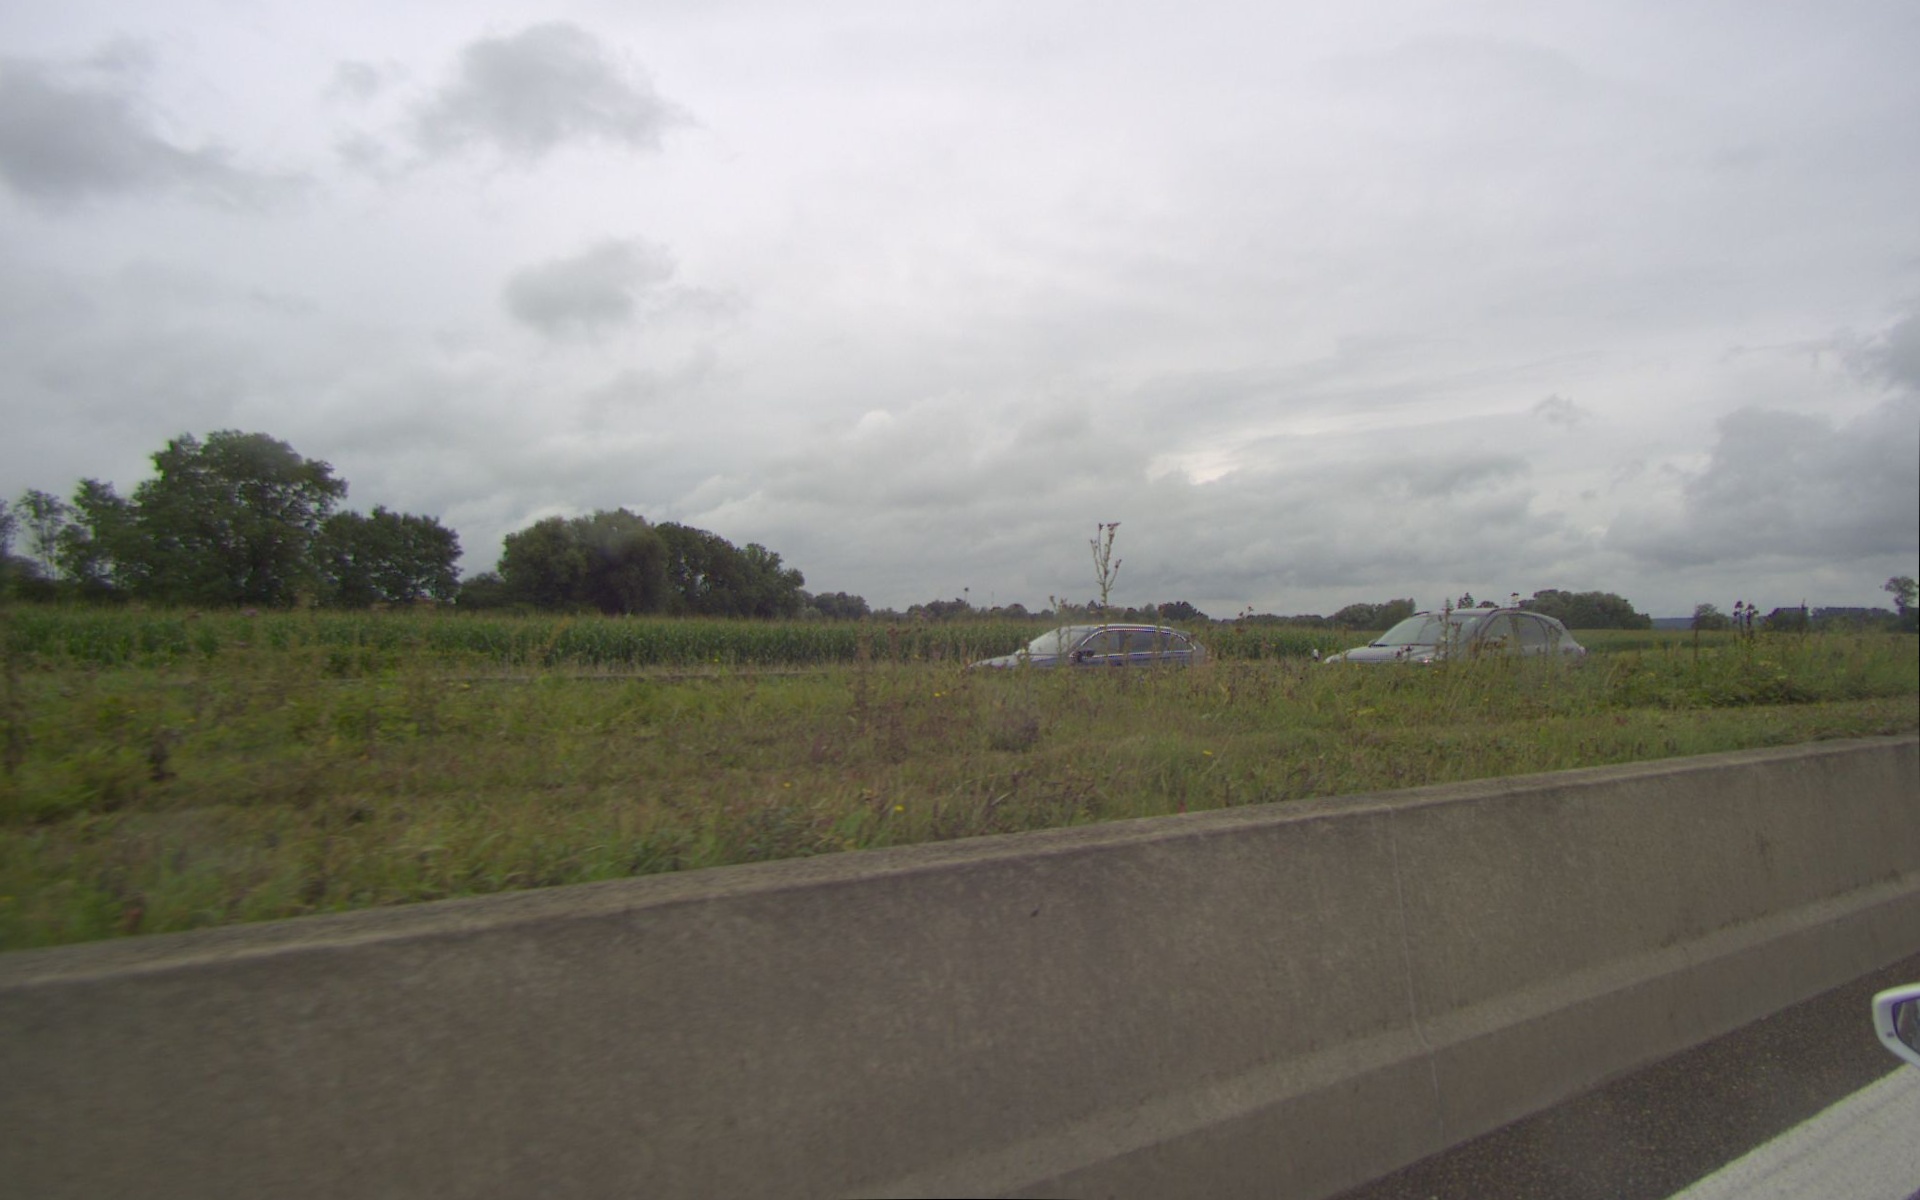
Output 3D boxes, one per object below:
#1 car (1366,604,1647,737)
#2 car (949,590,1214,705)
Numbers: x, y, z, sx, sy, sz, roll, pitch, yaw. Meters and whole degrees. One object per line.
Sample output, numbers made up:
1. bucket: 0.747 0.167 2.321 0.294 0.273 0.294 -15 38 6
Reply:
1. car: 8.094 0.962 14.837 3.953 1.706 1.874 1 0 -30
2. car: 1.943 0.710 15.903 3.788 1.624 1.887 2 0 -30
